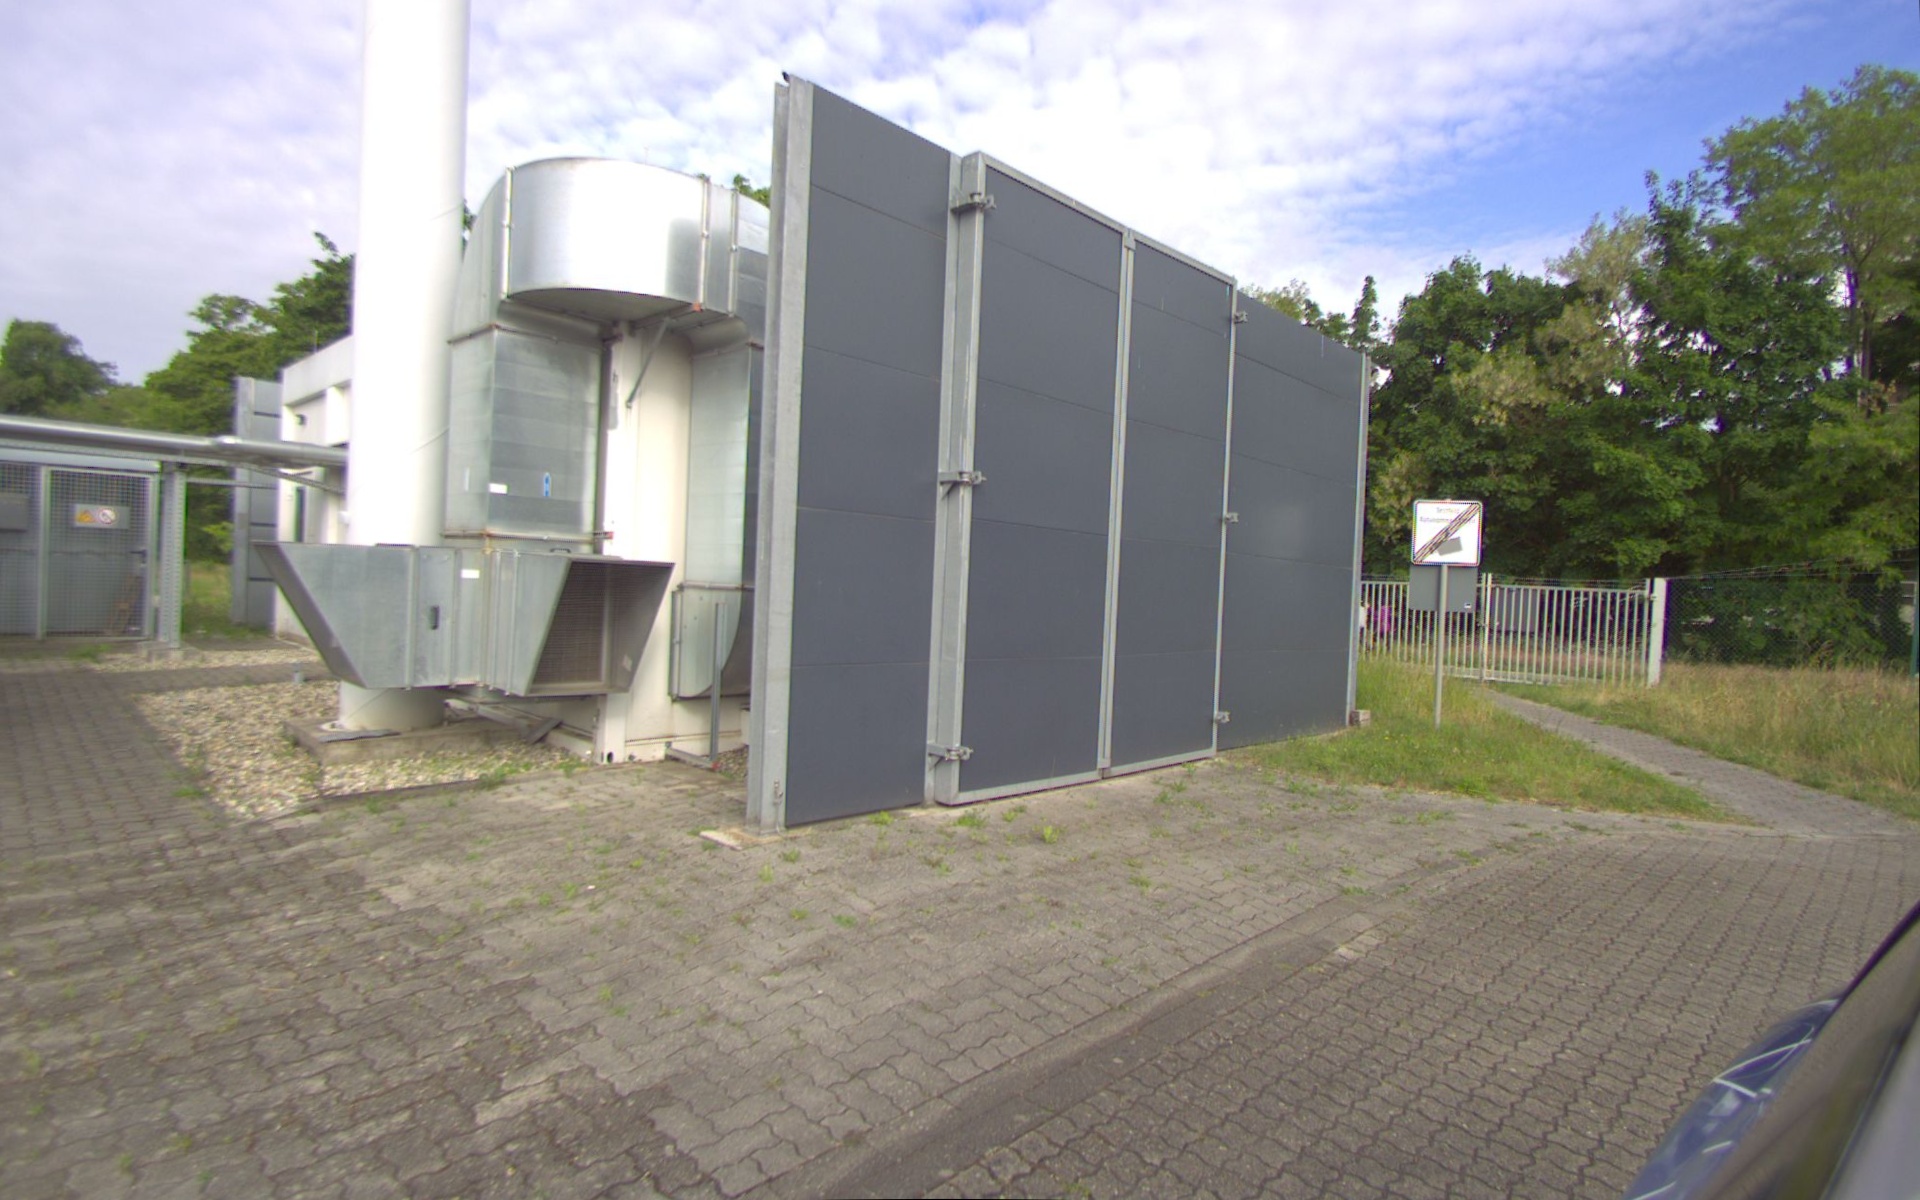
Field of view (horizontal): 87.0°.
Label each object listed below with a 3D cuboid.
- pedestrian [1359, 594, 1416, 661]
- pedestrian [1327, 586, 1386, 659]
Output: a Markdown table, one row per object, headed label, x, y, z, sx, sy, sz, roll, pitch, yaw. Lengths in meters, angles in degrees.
| label | x | y | z | sx | sy | sz | roll | pitch | yaw |
| --- | --- | --- | --- | --- | --- | --- | --- | --- | --- |
| pedestrian | 10.602 | 0.670 | 25.110 | 0.725 | 1.593 | 1.033 | 1 | 1 | -43 |
| pedestrian | 9.710 | 0.537 | 24.795 | 0.829 | 1.703 | 1.036 | 1 | 1 | -40 |
